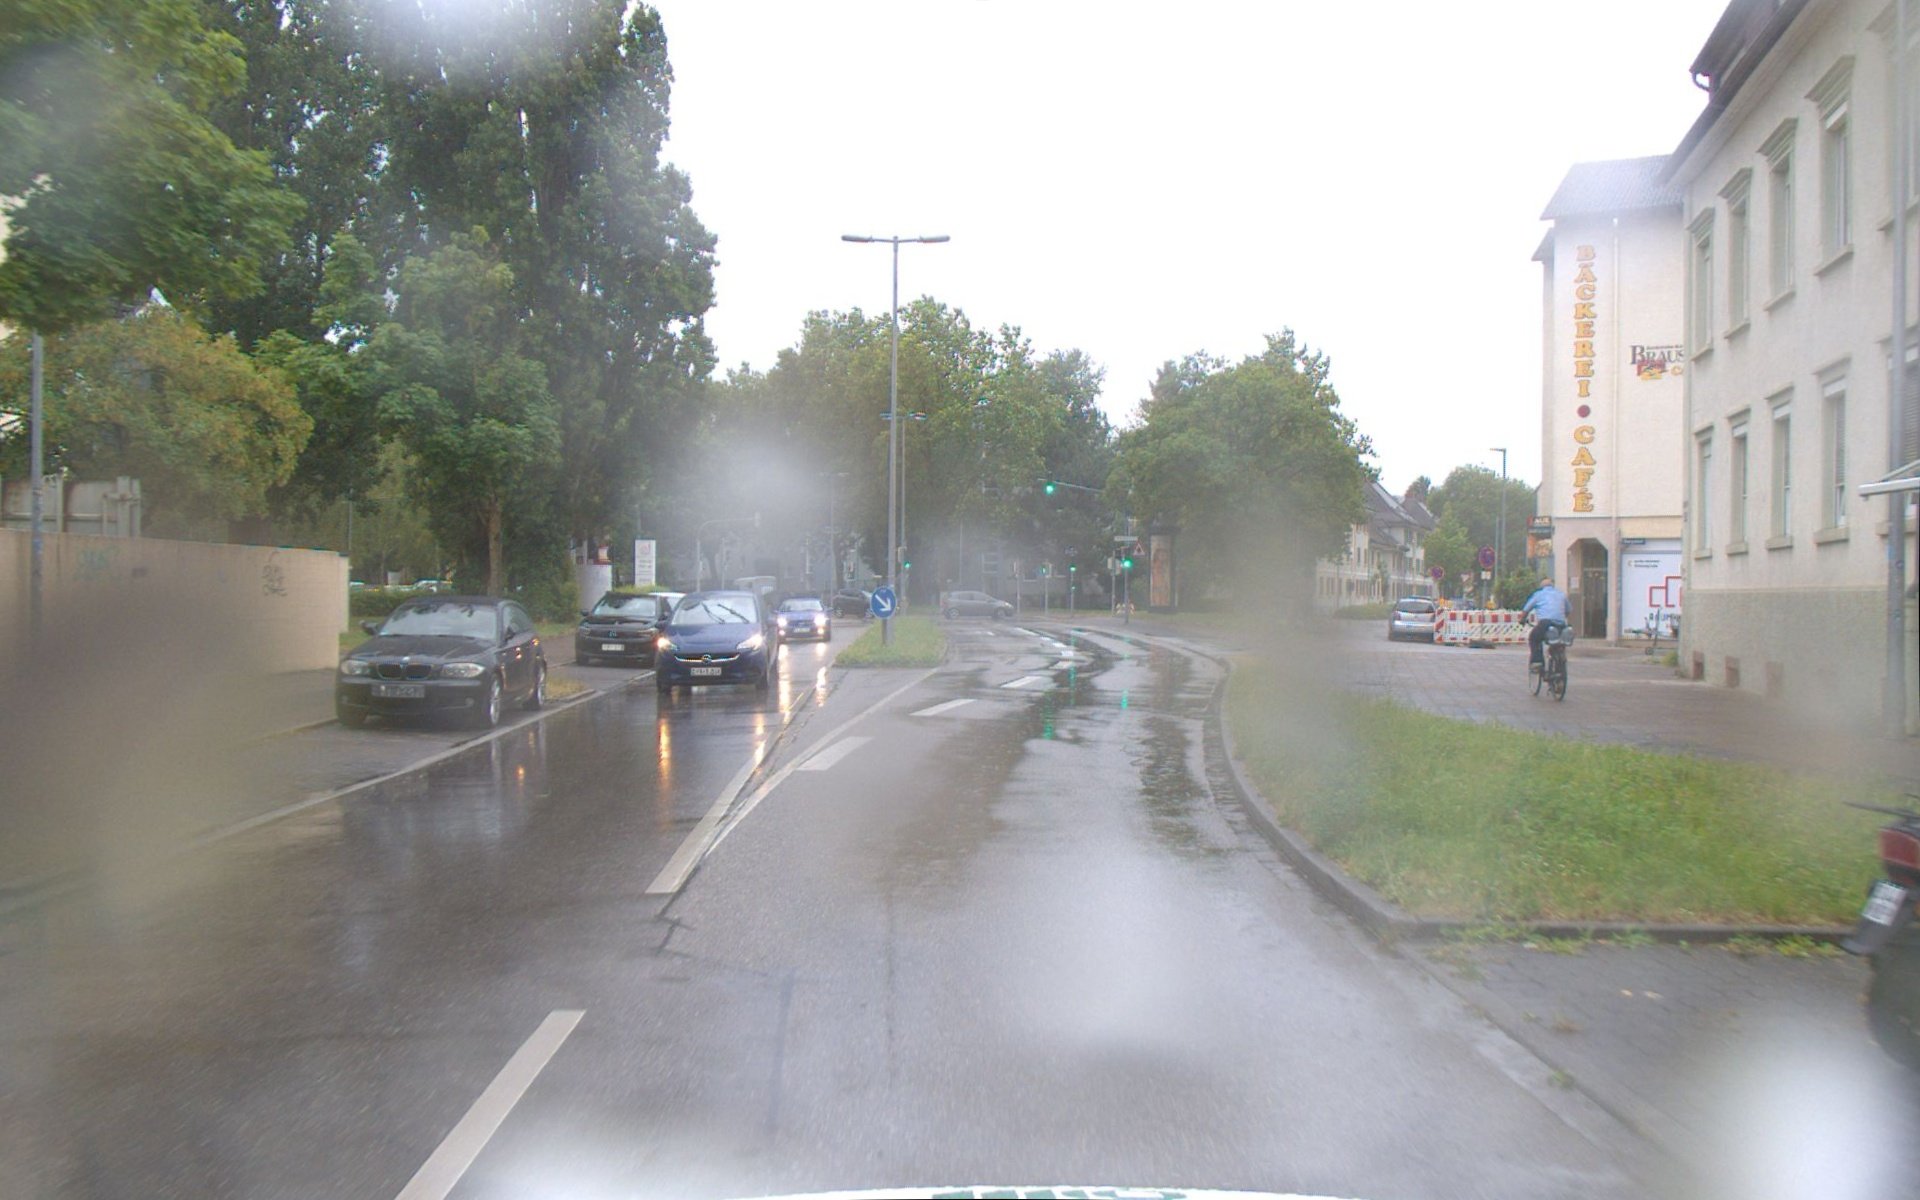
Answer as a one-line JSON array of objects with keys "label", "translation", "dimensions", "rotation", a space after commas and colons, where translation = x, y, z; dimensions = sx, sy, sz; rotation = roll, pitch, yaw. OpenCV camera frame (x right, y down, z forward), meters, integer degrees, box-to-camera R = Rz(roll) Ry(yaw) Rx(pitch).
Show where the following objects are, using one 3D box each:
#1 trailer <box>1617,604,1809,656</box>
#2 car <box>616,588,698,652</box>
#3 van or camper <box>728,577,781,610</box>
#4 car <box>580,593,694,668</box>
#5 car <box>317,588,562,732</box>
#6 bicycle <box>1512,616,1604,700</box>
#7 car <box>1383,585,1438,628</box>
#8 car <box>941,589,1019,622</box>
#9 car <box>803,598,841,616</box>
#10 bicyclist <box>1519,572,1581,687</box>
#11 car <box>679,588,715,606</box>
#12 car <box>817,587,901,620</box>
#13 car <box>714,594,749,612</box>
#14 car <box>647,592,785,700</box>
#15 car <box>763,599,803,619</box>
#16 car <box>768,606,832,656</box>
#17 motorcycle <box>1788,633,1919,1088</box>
[{"label": "trailer", "translation": [19.890, 0.765, 43.719], "dimensions": [4.437, 1.253, 1.820], "rotation": [1, 0, 32]}, {"label": "car", "translation": [-7.538, 0.492, 41.426], "dimensions": [1.570, 1.500, 4.118], "rotation": [1, 0, -5]}, {"label": "van or camper", "translation": [-18.144, -0.578, 145.909], "dimensions": [2.293, 2.856, 6.797], "rotation": [1, 0, -29]}, {"label": "car", "translation": [-6.609, 0.598, 34.254], "dimensions": [1.692, 1.407, 4.177], "rotation": [2, 0, -3]}, {"label": "car", "translation": [-5.949, 0.636, 19.382], "dimensions": [1.662, 1.470, 4.095], "rotation": [1, 0, -2]}, {"label": "bicycle", "translation": [8.433, 0.795, 23.420], "dimensions": [0.658, 1.078, 1.973], "rotation": [1, 1, 3]}, {"label": "car", "translation": [15.968, 0.247, 58.763], "dimensions": [1.599, 1.458, 4.180], "rotation": [1, 0, 12]}, {"label": "car", "translation": [1.057, 0.289, 87.134], "dimensions": [3.991, 1.630, 2.000], "rotation": [1, 0, 0]}, {"label": "car", "translation": [-11.090, 0.569, 132.347], "dimensions": [1.531, 1.414, 4.111], "rotation": [1, 0, -28]}, {"label": "bicyclist", "translation": [8.439, 0.417, 23.686], "dimensions": [0.625, 1.610, 0.716], "rotation": [1, 0, 3]}, {"label": "car", "translation": [-25.010, -0.307, 157.057], "dimensions": [1.897, 1.648, 4.323], "rotation": [1, 0, -32]}, {"label": "car", "translation": [-5.568, 0.188, 91.380], "dimensions": [4.200, 1.774, 2.001], "rotation": [1, 0, 17]}, {"label": "car", "translation": [-19.465, 0.280, 140.695], "dimensions": [1.689, 1.436, 3.606], "rotation": [-2, 1, -31]}, {"label": "car", "translation": [-3.705, 0.664, 25.685], "dimensions": [1.671, 1.527, 3.944], "rotation": [0, 0, -2]}, {"label": "car", "translation": [-13.722, 0.678, 128.205], "dimensions": [1.689, 1.436, 3.606], "rotation": [-2, 1, -31]}, {"label": "car", "translation": [-4.844, 0.914, 50.442], "dimensions": [1.692, 1.418, 3.948], "rotation": [-2, 0, -3]}, {"label": "motorcycle", "translation": [3.650, 0.808, 5.370], "dimensions": [1.557, 1.347, 0.695], "rotation": [1, 1, -2]}]
